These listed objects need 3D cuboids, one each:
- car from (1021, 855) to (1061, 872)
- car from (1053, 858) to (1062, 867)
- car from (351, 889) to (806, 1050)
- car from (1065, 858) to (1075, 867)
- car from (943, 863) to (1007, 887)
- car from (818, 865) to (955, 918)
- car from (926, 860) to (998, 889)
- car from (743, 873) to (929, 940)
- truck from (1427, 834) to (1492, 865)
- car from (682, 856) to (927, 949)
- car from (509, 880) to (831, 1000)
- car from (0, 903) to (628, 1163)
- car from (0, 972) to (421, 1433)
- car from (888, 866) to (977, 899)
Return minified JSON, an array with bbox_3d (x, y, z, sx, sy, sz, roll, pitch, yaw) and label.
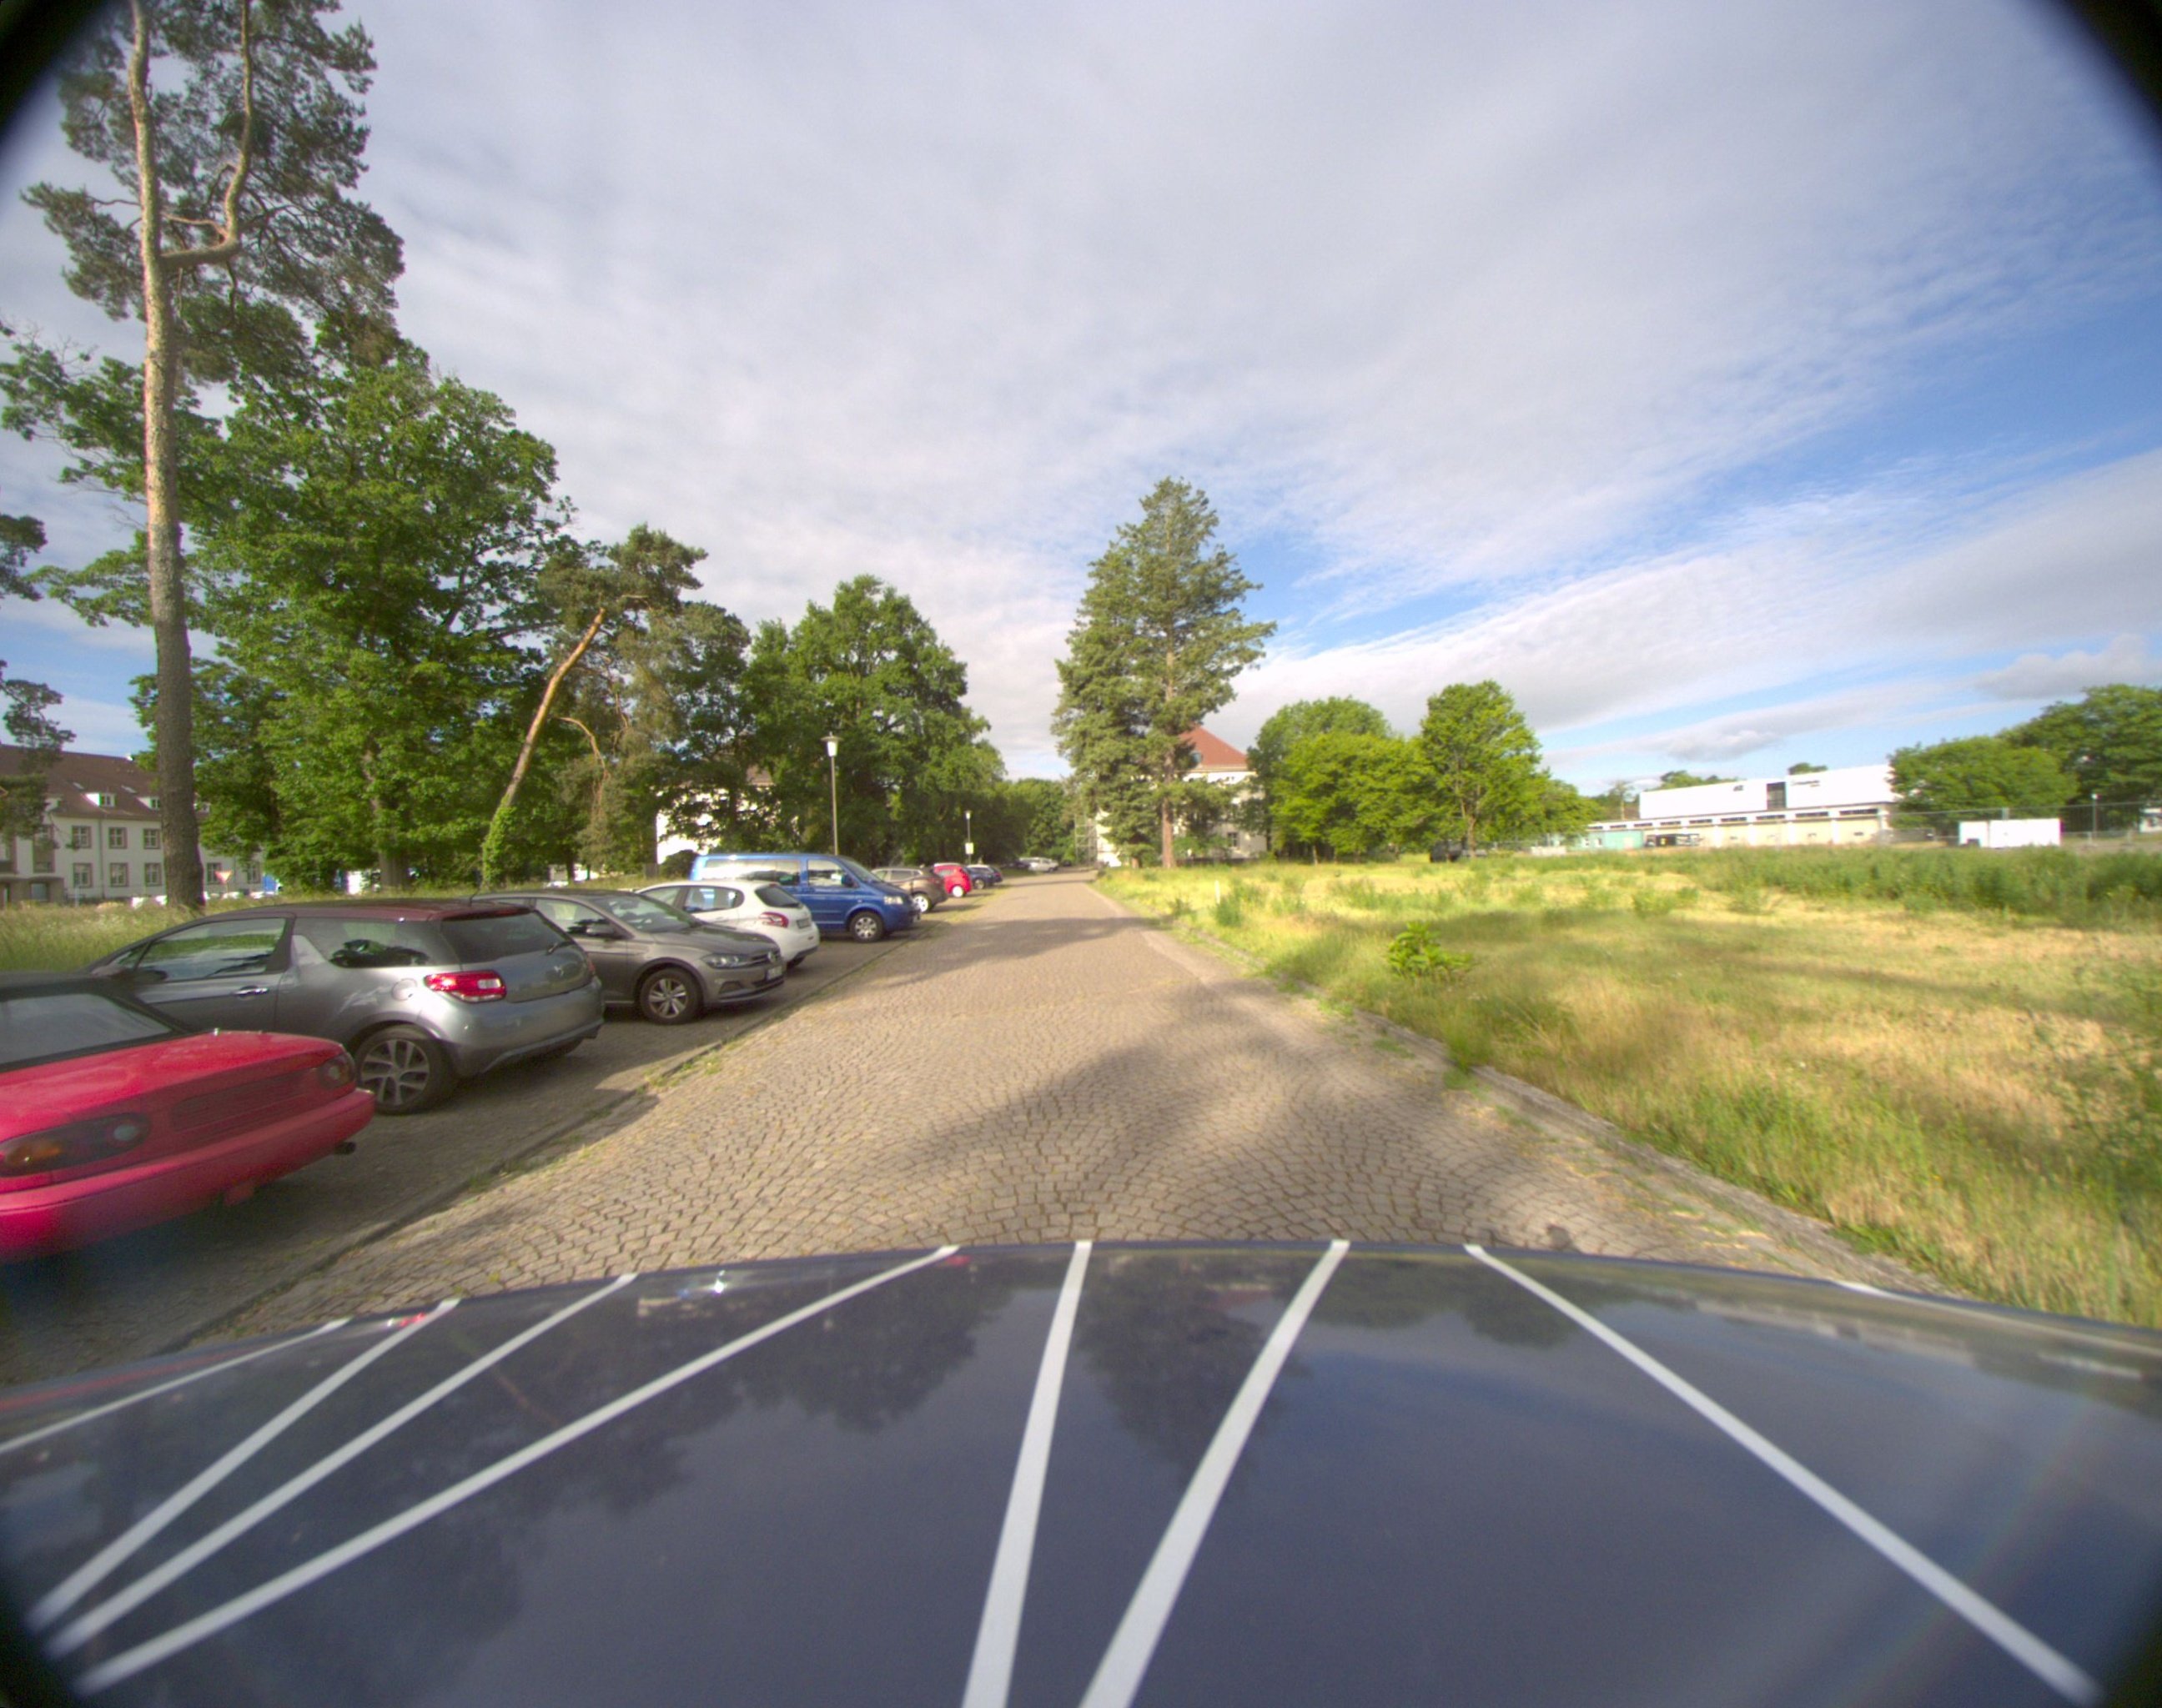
[{"bbox_3d":[-5.262,1.209,100.126,5.080,2.029,2.000,-2,0,-3],"label":"car"},{"bbox_3d":[-5.075,1.901,166.274,1.875,1.887,3.999,-2,1,-2],"label":"car"},{"bbox_3d":[-5.508,1.234,8.781,3.962,1.459,1.830,-1,1,-2],"label":"car"},{"bbox_3d":[-2.356,1.860,166.605,1.999,1.762,4.107,-2,1,-2],"label":"car"},{"bbox_3d":[-7.071,1.375,51.066,4.036,1.442,1.783,-1,1,0],"label":"car"},{"bbox_3d":[-6.515,1.246,25.828,4.202,1.580,1.877,-1,1,-3],"label":"car"},{"bbox_3d":[-7.186,1.238,46.360,4.136,1.560,1.746,-1,1,-3],"label":"car"},{"bbox_3d":[-6.138,1.290,19.484,4.203,1.461,1.806,-1,1,-6],"label":"car"},{"bbox_3d":[34.150,-0.389,68.847,2.418,2.571,6.958,-2,0,0],"label":"truck"},{"bbox_3d":[-5.989,1.022,16.974,4.746,1.917,1.991,0,1,-3],"label":"car"},{"bbox_3d":[-6.070,1.236,11.617,3.885,1.521,1.807,-1,1,-2],"label":"car"},{"bbox_3d":[-6.030,1.228,5.834,3.962,1.486,1.771,-1,1,-2],"label":"car"},{"bbox_3d":[-5.578,1.319,3.213,3.962,1.253,1.726,-1,1,-2],"label":"car"},{"bbox_3d":[-6.990,1.330,36.077,3.888,1.464,1.686,-1,1,-3],"label":"car"}]
